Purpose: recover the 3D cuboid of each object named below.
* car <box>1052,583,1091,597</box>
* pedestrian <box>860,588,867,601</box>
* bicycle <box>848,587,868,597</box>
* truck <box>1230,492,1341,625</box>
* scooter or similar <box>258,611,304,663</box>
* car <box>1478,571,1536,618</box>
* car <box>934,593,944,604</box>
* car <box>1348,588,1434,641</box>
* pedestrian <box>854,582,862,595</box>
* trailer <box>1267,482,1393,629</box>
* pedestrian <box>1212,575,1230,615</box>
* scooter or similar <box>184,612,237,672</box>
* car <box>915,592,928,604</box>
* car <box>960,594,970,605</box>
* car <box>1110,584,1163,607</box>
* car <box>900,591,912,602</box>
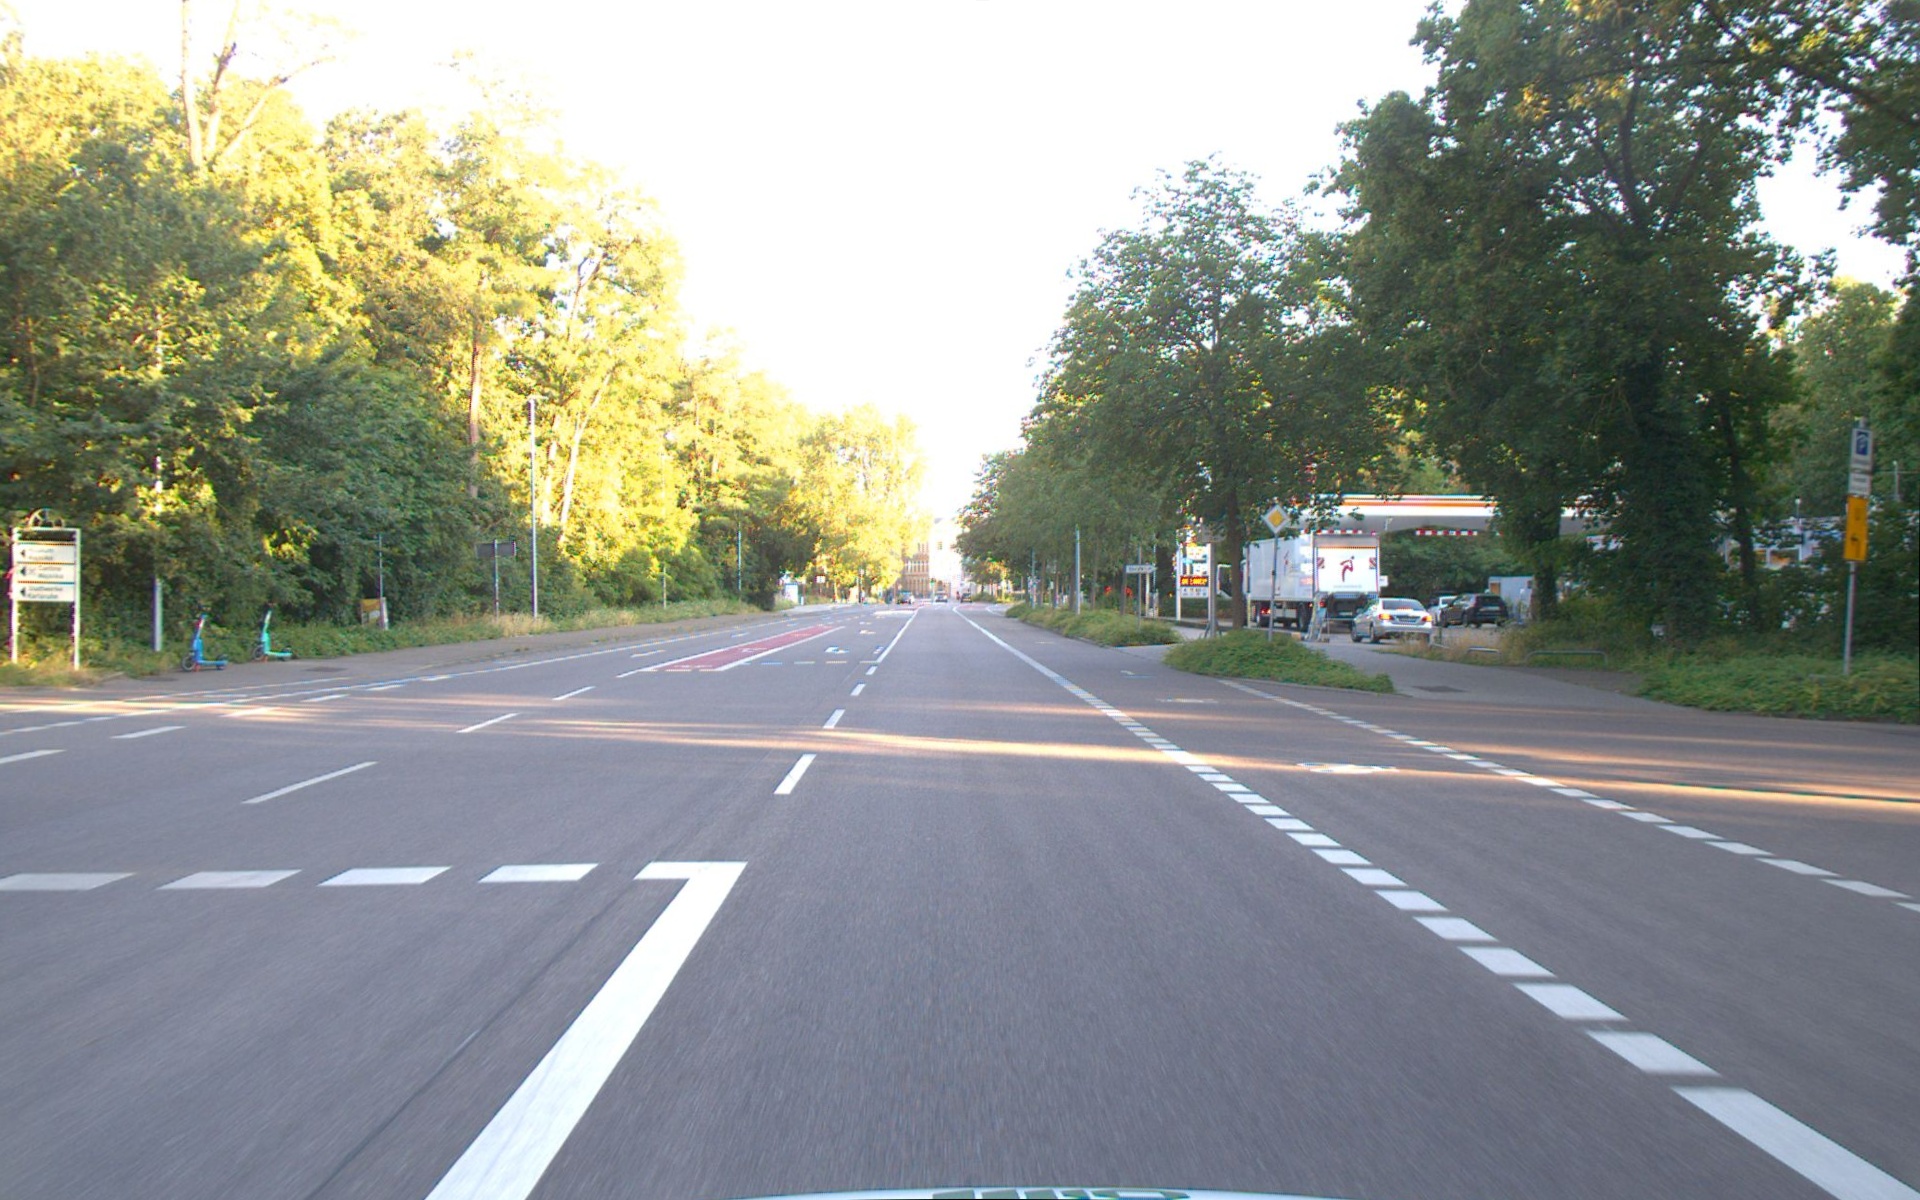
[{"bbox_3d":[12.581,-1.113,186.942,4.364,1.618,1.716,0,0,7],"label":"car"},{"bbox_3d":[-12.320,-0.668,210.896,0.774,1.608,0.746,1,0,8],"label":"pedestrian"},{"bbox_3d":[-12.544,-1.015,203.821,2.410,1.216,0.757,0,0,9],"label":"bicycle"},{"bbox_3d":[14.375,-1.815,73.750,2.972,5.550,8.406,0,1,-3],"label":"truck"},{"bbox_3d":[-14.419,0.780,35.137,0.886,1.087,0.492,0,0,-27],"label":"scooter or similar"},{"bbox_3d":[29.493,-0.294,89.266,1.733,2.388,4.623,1,0,2],"label":"car"},{"bbox_3d":[-3.149,-0.230,250.870,1.462,1.512,3.490,0,0,0],"label":"car"},{"bbox_3d":[13.986,0.440,53.919,1.733,1.611,4.820,1,0,2],"label":"car"},{"bbox_3d":[-12.555,-1.434,203.847,0.774,1.608,0.746,1,0,8],"label":"pedestrian"},{"bbox_3d":[14.706,-1.721,66.386,2.960,5.557,7.931,0,0,-2],"label":"trailer"},{"bbox_3d":[12.205,-0.238,77.306,0.741,1.829,0.707,1,0,2],"label":"pedestrian"},{"bbox_3d":[-14.327,0.798,31.625,0.355,1.129,0.875,0,0,40],"label":"scooter or similar"},{"bbox_3d":[-4.735,-0.222,204.692,1.462,1.512,3.490,0,0,0],"label":"car"},{"bbox_3d":[0.779,-0.066,240.818,1.462,1.512,3.490,0,0,0],"label":"car"},{"bbox_3d":[16.046,-0.429,150.154,4.806,2.024,1.923,0,0,7],"label":"car"},{"bbox_3d":[-6.850,-0.439,211.182,1.462,1.314,3.490,0,0,0],"label":"car"}]
